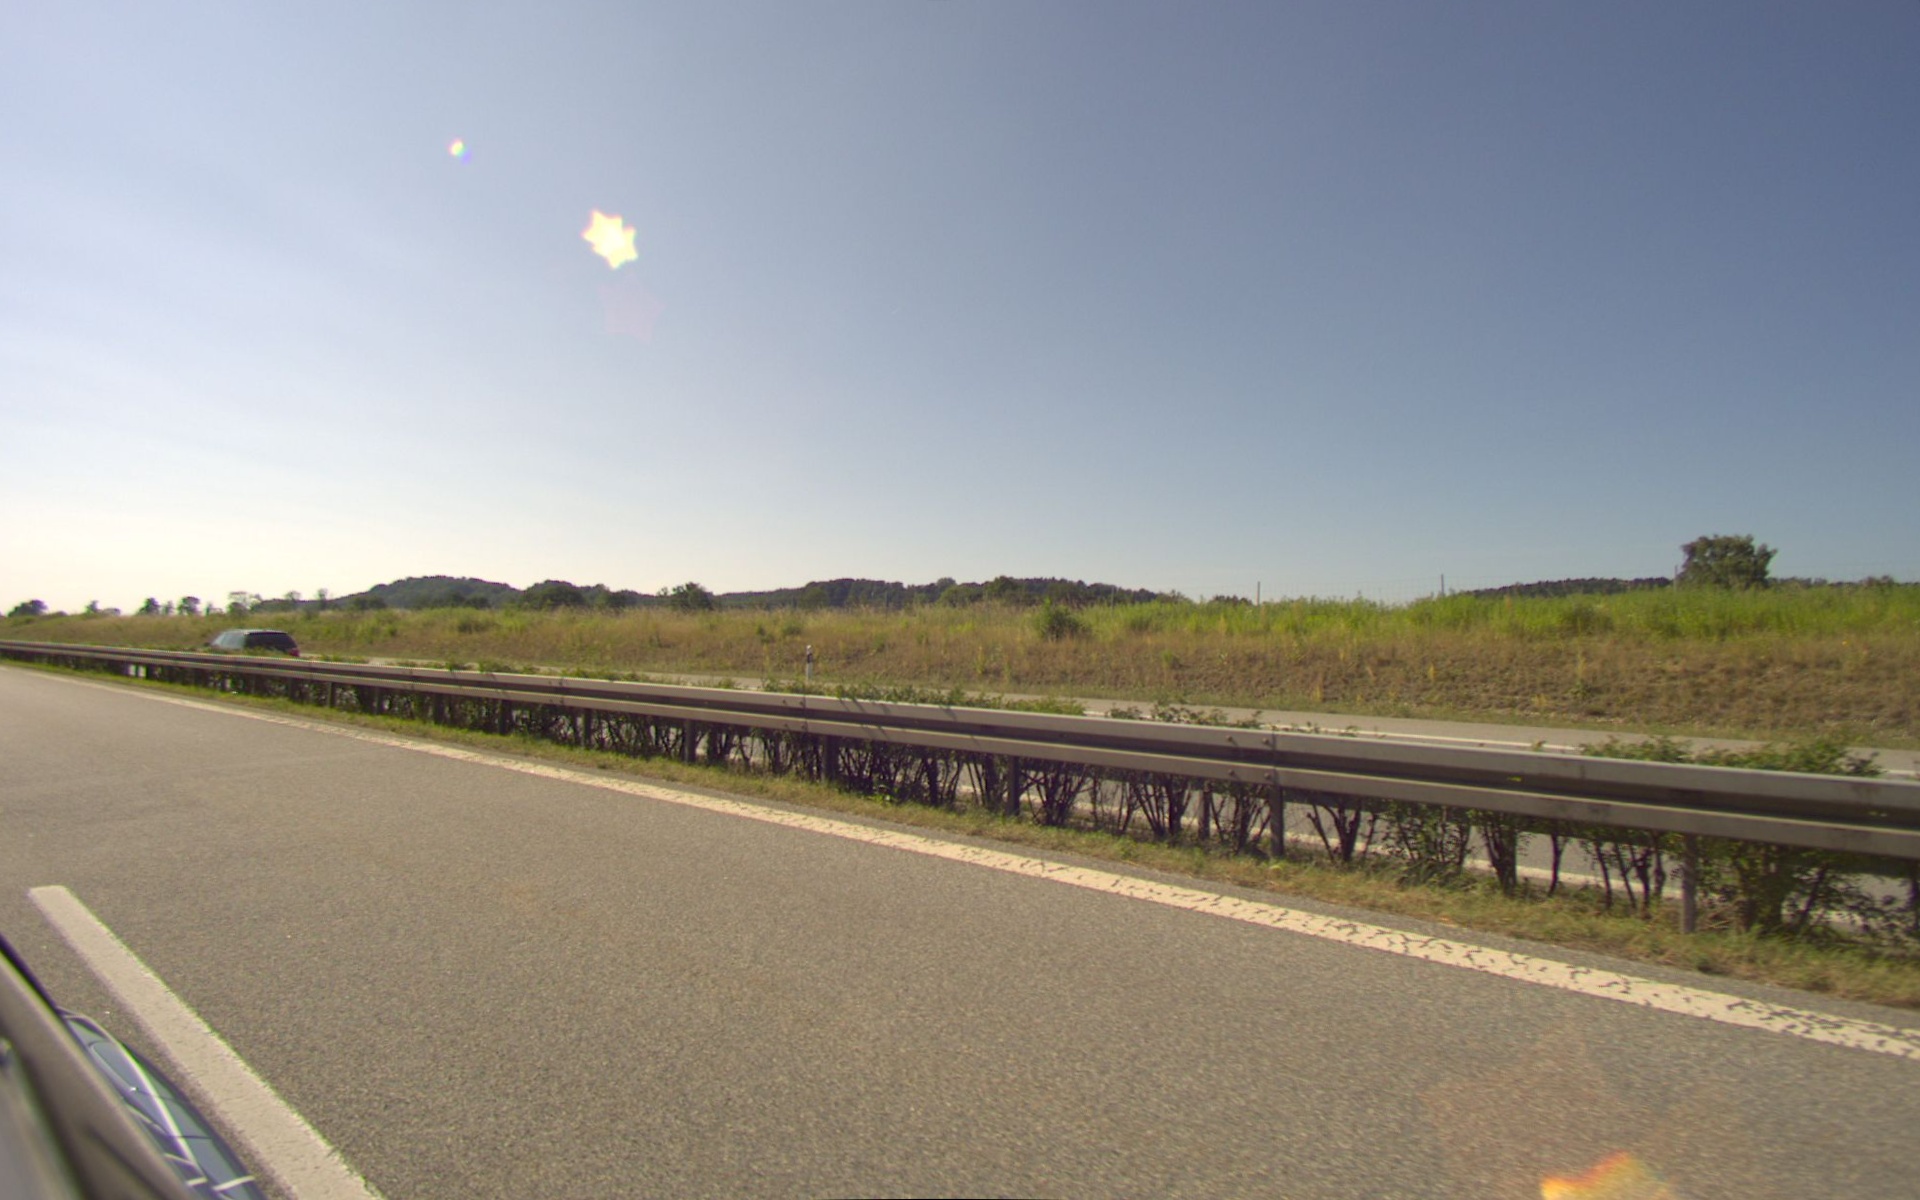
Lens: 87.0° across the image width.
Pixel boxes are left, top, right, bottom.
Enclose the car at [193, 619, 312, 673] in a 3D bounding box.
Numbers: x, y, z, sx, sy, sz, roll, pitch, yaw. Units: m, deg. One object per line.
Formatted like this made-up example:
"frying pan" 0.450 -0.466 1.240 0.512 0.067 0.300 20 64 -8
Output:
"car" -22.549 1.406 32.190 4.535 1.519 1.814 -1 1 38
